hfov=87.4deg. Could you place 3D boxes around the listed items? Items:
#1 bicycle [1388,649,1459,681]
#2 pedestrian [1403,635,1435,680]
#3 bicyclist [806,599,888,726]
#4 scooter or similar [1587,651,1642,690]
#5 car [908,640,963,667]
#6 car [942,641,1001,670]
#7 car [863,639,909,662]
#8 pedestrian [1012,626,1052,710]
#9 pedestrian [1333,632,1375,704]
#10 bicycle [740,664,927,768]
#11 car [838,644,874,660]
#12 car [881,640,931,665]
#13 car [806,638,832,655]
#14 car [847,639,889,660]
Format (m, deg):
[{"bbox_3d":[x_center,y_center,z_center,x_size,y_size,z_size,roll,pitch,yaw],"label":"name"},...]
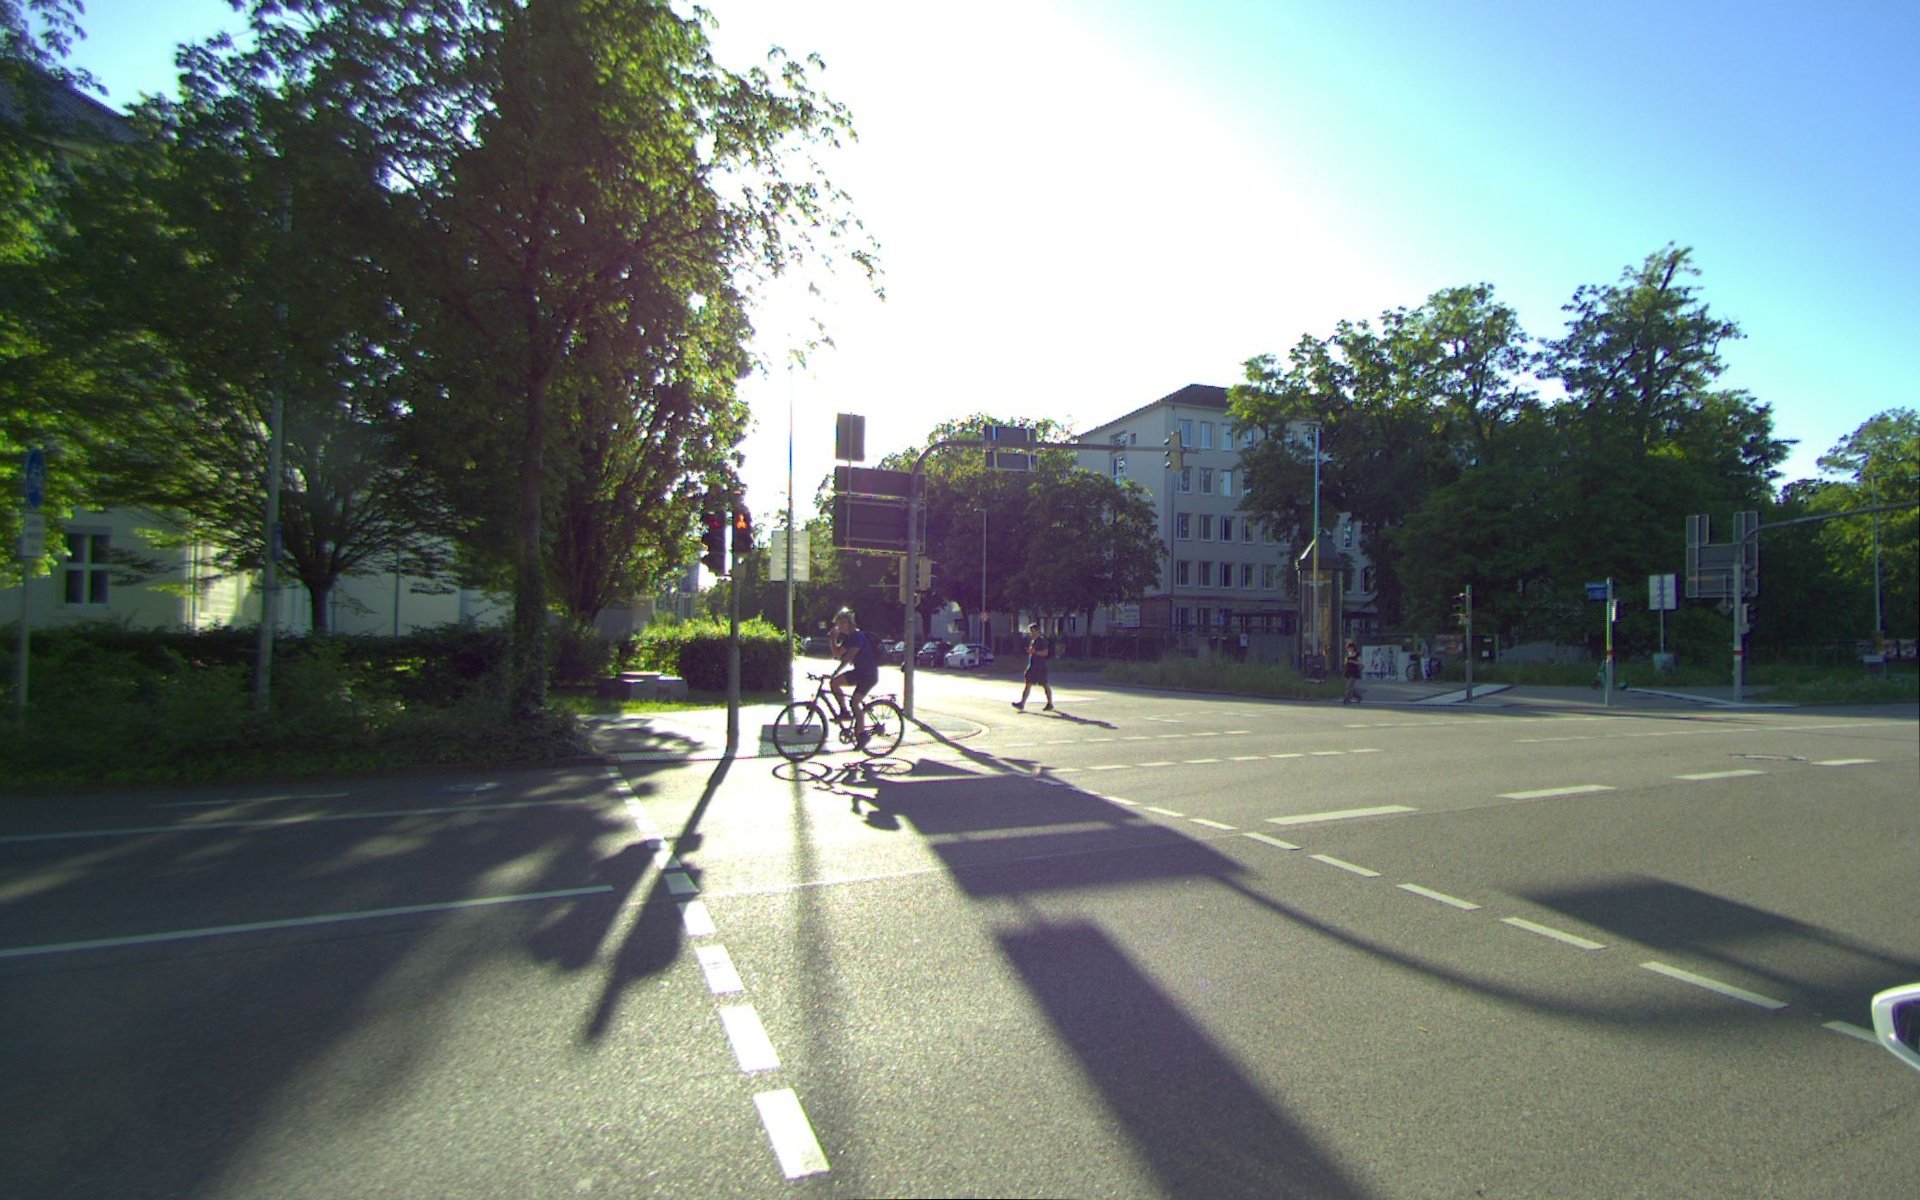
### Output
[{"bbox_3d":[18.139,2.534,39.379,0.966,1.150,2.565,2,-2,-23],"label":"bicycle"},{"bbox_3d":[17.822,2.232,39.003,0.634,1.718,0.975,2,-2,-24],"label":"pedestrian"},{"bbox_3d":[-1.376,0.755,12.266,0.750,1.485,0.692,2,-2,-34],"label":"bicyclist"},{"bbox_3d":[22.737,2.437,34.917,1.466,1.311,0.696,1,-2,1],"label":"scooter or similar"},{"bbox_3d":[-1.601,3.344,63.178,2.204,1.559,4.240,1,-2,-20],"label":"car"},{"bbox_3d":[0.603,3.188,58.068,2.038,1.559,4.240,1,-2,-20],"label":"car"},{"bbox_3d":[-5.402,3.644,72.543,2.204,1.559,4.240,1,-2,-20],"label":"car"},{"bbox_3d":[1.600,1.507,22.488,0.670,1.840,0.689,1,-2,-20],"label":"pedestrian"},{"bbox_3d":[10.299,1.759,26.286,0.715,1.840,0.742,1,-2,-20],"label":"pedestrian"},{"bbox_3d":[-1.497,1.350,12.141,2.168,1.131,0.691,2,-3,-35],"label":"bicycle"},{"bbox_3d":[-8.462,4.237,81.556,1.970,1.257,3.983,1,-2,-20],"label":"car"},{"bbox_3d":[-3.707,3.518,67.822,2.204,1.559,4.240,1,-2,-20],"label":"car"},{"bbox_3d":[-13.697,4.524,97.347,1.783,1.607,3.984,1,-2,-19],"label":"car"},{"bbox_3d":[-7.108,3.790,77.278,2.204,1.559,4.240,1,-2,-20],"label":"car"}]
